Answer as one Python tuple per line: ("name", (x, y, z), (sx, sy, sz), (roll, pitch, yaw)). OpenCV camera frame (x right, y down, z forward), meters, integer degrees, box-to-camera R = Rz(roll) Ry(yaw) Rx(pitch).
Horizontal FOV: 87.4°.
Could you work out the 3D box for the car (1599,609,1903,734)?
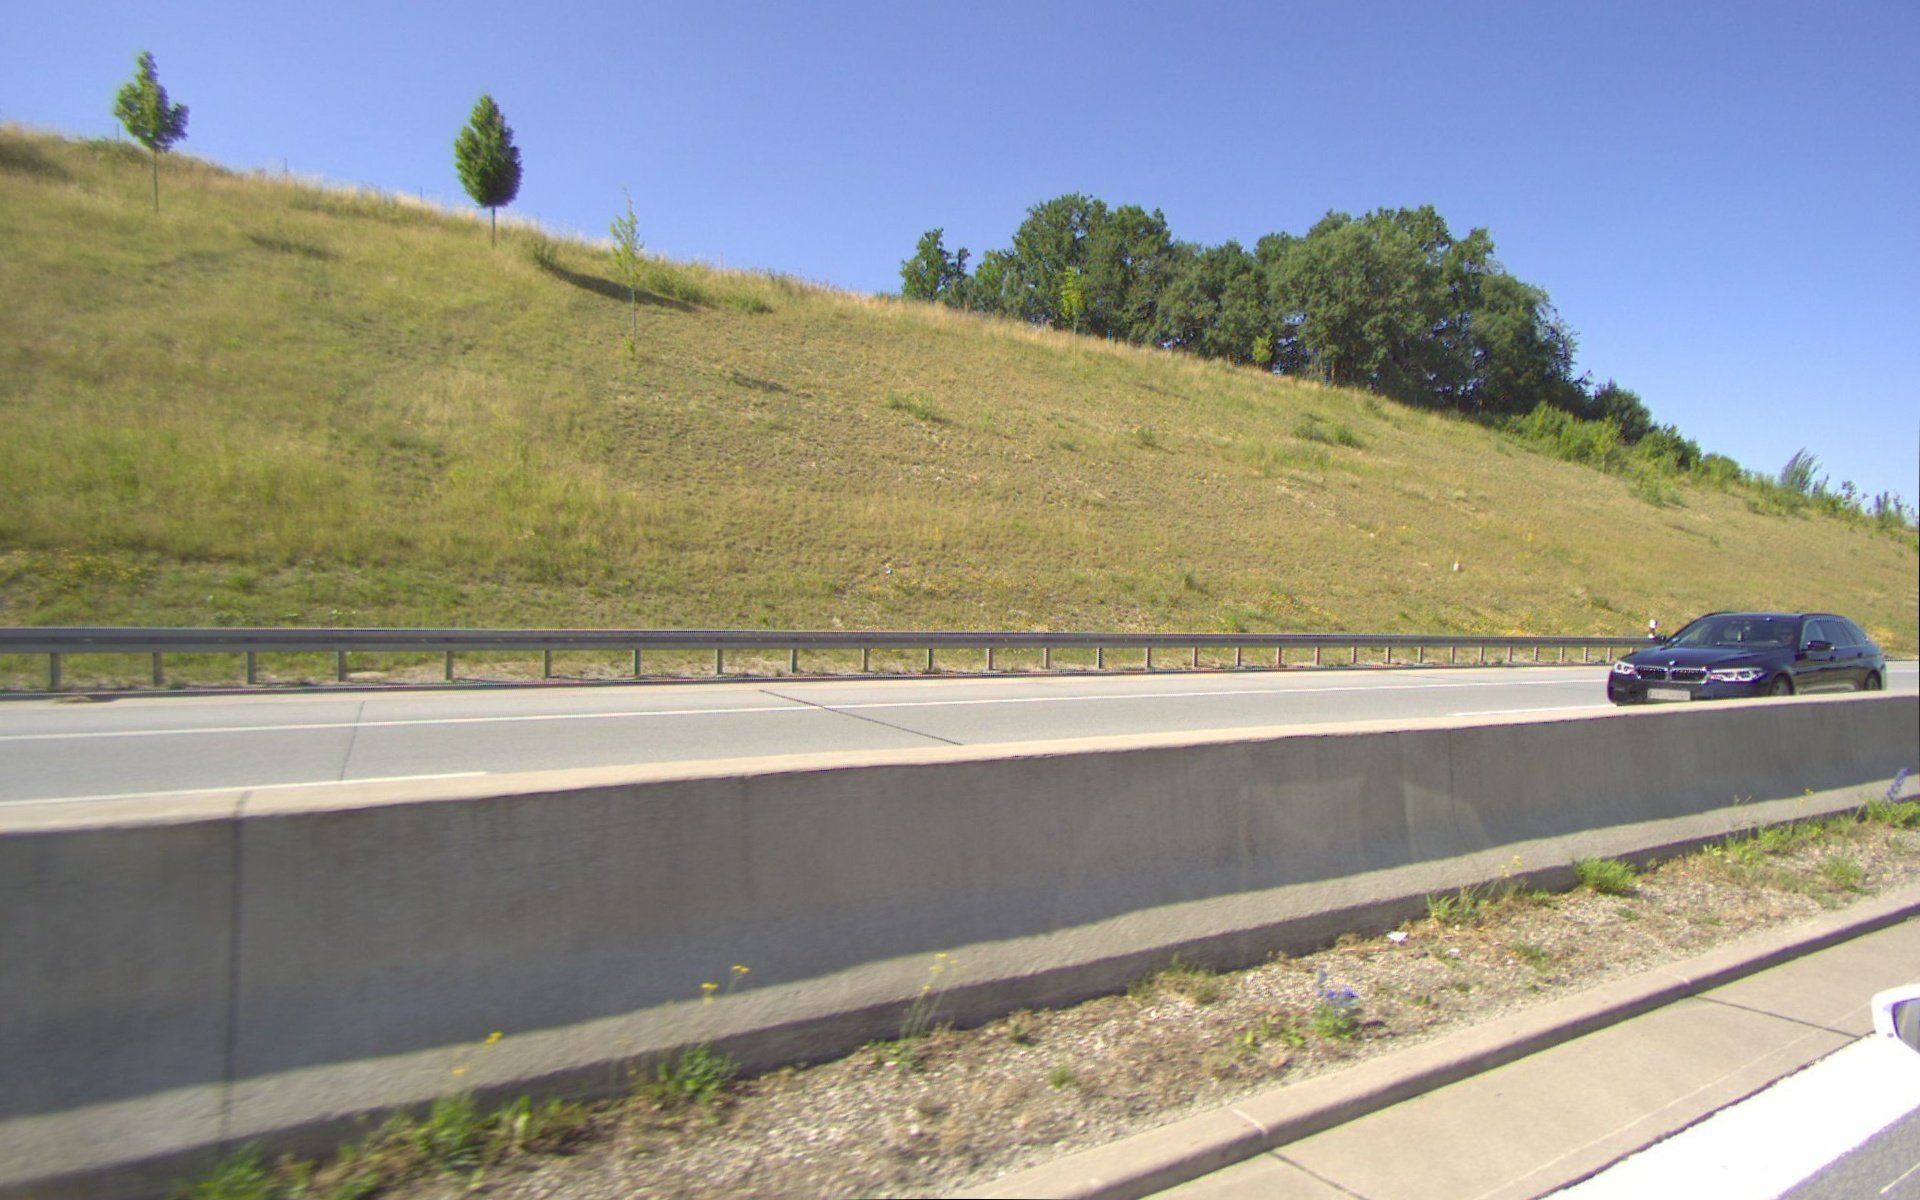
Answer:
("car", (11.276, 0.915, 14.237), (4.714, 1.481, 1.844), (1, 0, -31))
